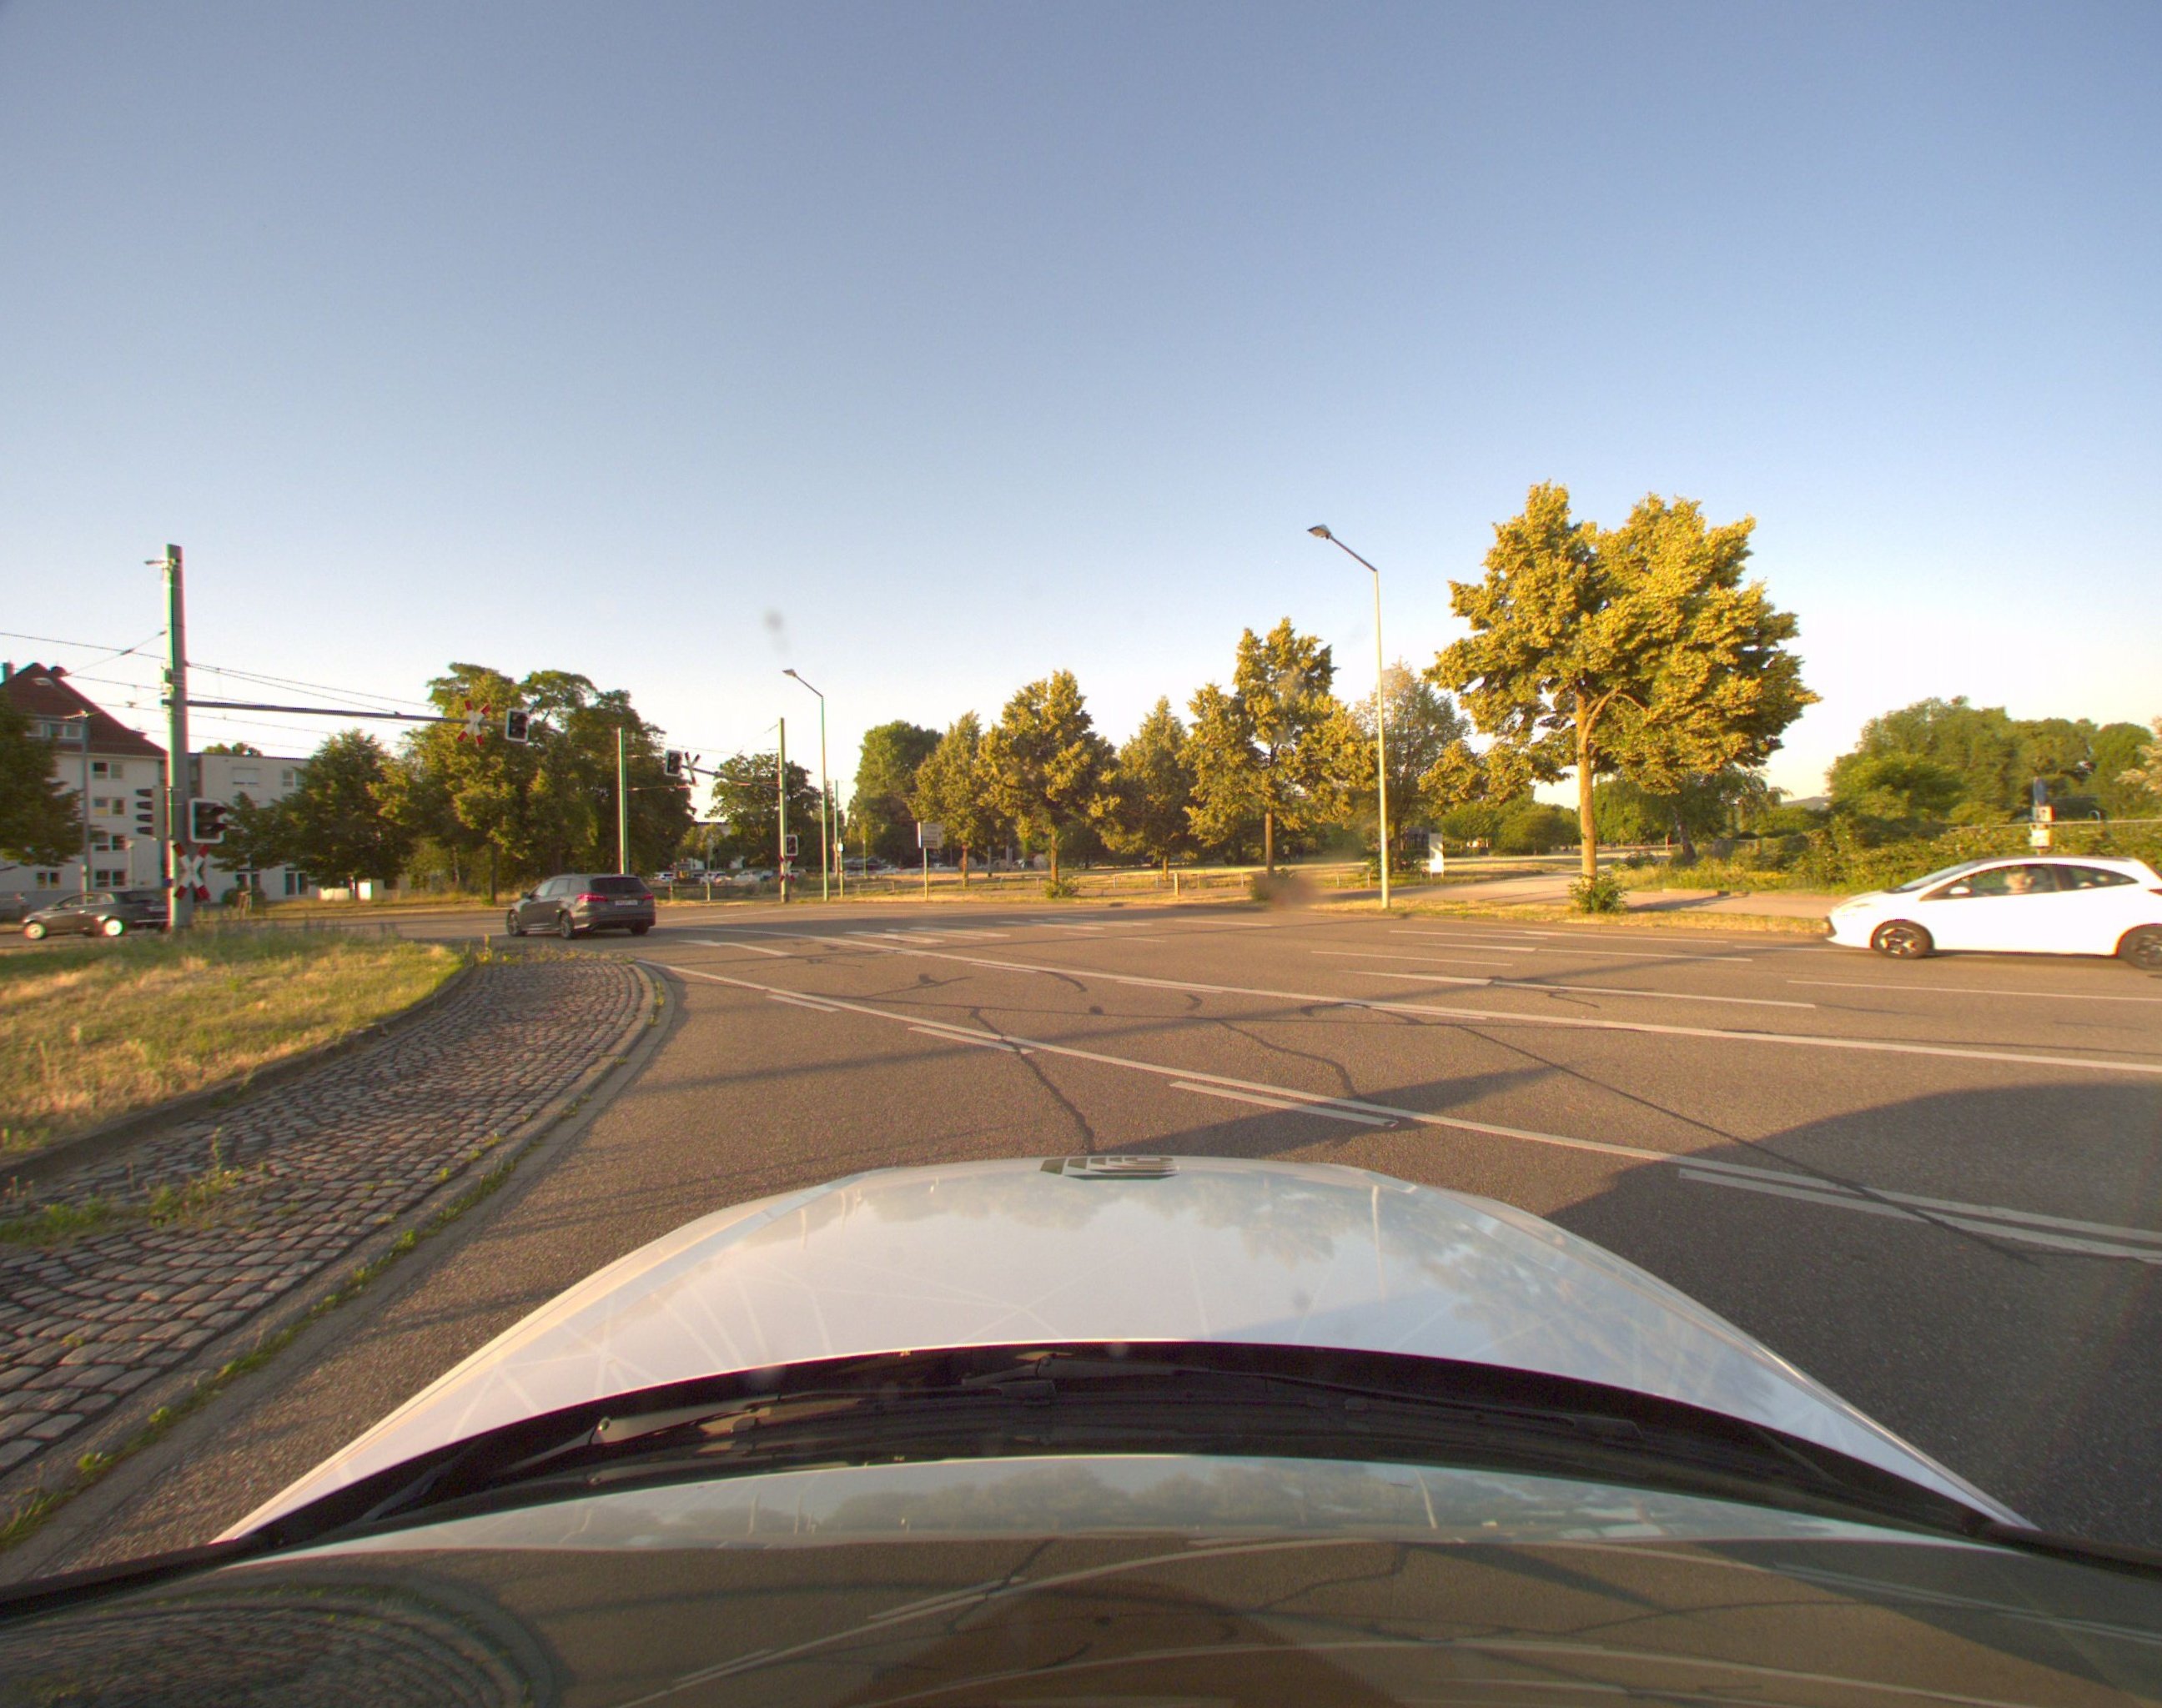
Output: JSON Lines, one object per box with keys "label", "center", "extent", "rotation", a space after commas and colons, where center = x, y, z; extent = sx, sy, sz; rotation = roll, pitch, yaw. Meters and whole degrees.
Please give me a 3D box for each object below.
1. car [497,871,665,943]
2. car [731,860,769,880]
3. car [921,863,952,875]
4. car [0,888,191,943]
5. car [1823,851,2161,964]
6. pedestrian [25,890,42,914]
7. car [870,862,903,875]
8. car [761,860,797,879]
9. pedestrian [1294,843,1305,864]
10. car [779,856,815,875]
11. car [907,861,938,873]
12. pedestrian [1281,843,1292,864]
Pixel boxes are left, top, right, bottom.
{"label": "car", "center": [-11.894, 1.206, 19.327], "extent": [4.081, 1.466, 1.763], "rotation": [-2, 0, 33]}
{"label": "car", "center": [-37.503, 1.831, 92.296], "extent": [3.948, 2.098, 2.013], "rotation": [-2, 0, 33]}
{"label": "car", "center": [-20.683, 2.108, 116.701], "extent": [3.948, 1.551, 2.013], "rotation": [-2, 0, 32]}
{"label": "car", "center": [-31.203, 1.922, 25.811], "extent": [4.104, 1.446, 1.753], "rotation": [-2, 0, 3]}
{"label": "car", "center": [13.184, 0.716, 11.796], "extent": [3.441, 1.443, 1.564], "rotation": [-2, -1, 38]}
{"label": "pedestrian", "center": [-61.670, 2.814, 47.943], "extent": [0.353, 1.374, 0.551], "rotation": [-2, 0, 28]}
{"label": "car", "center": [-25.939, 1.946, 108.741], "extent": [3.948, 1.551, 2.013], "rotation": [-2, 0, 32]}
{"label": "car", "center": [-35.335, 1.799, 95.250], "extent": [3.948, 2.098, 2.013], "rotation": [-2, 0, 33]}
{"label": "pedestrian", "center": [16.650, -0.038, 62.100], "extent": [0.622, 1.626, 0.525], "rotation": [-1, 0, -29]}
{"label": "car", "center": [-34.074, 1.404, 97.587], "extent": [3.948, 2.098, 2.013], "rotation": [-2, 0, 33]}
{"label": "car", "center": [-22.374, 1.860, 114.786], "extent": [3.948, 1.551, 2.013], "rotation": [-2, 0, 32]}
{"label": "pedestrian", "center": [15.747, -0.027, 62.435], "extent": [0.582, 1.626, 0.528], "rotation": [-1, 0, -30]}
